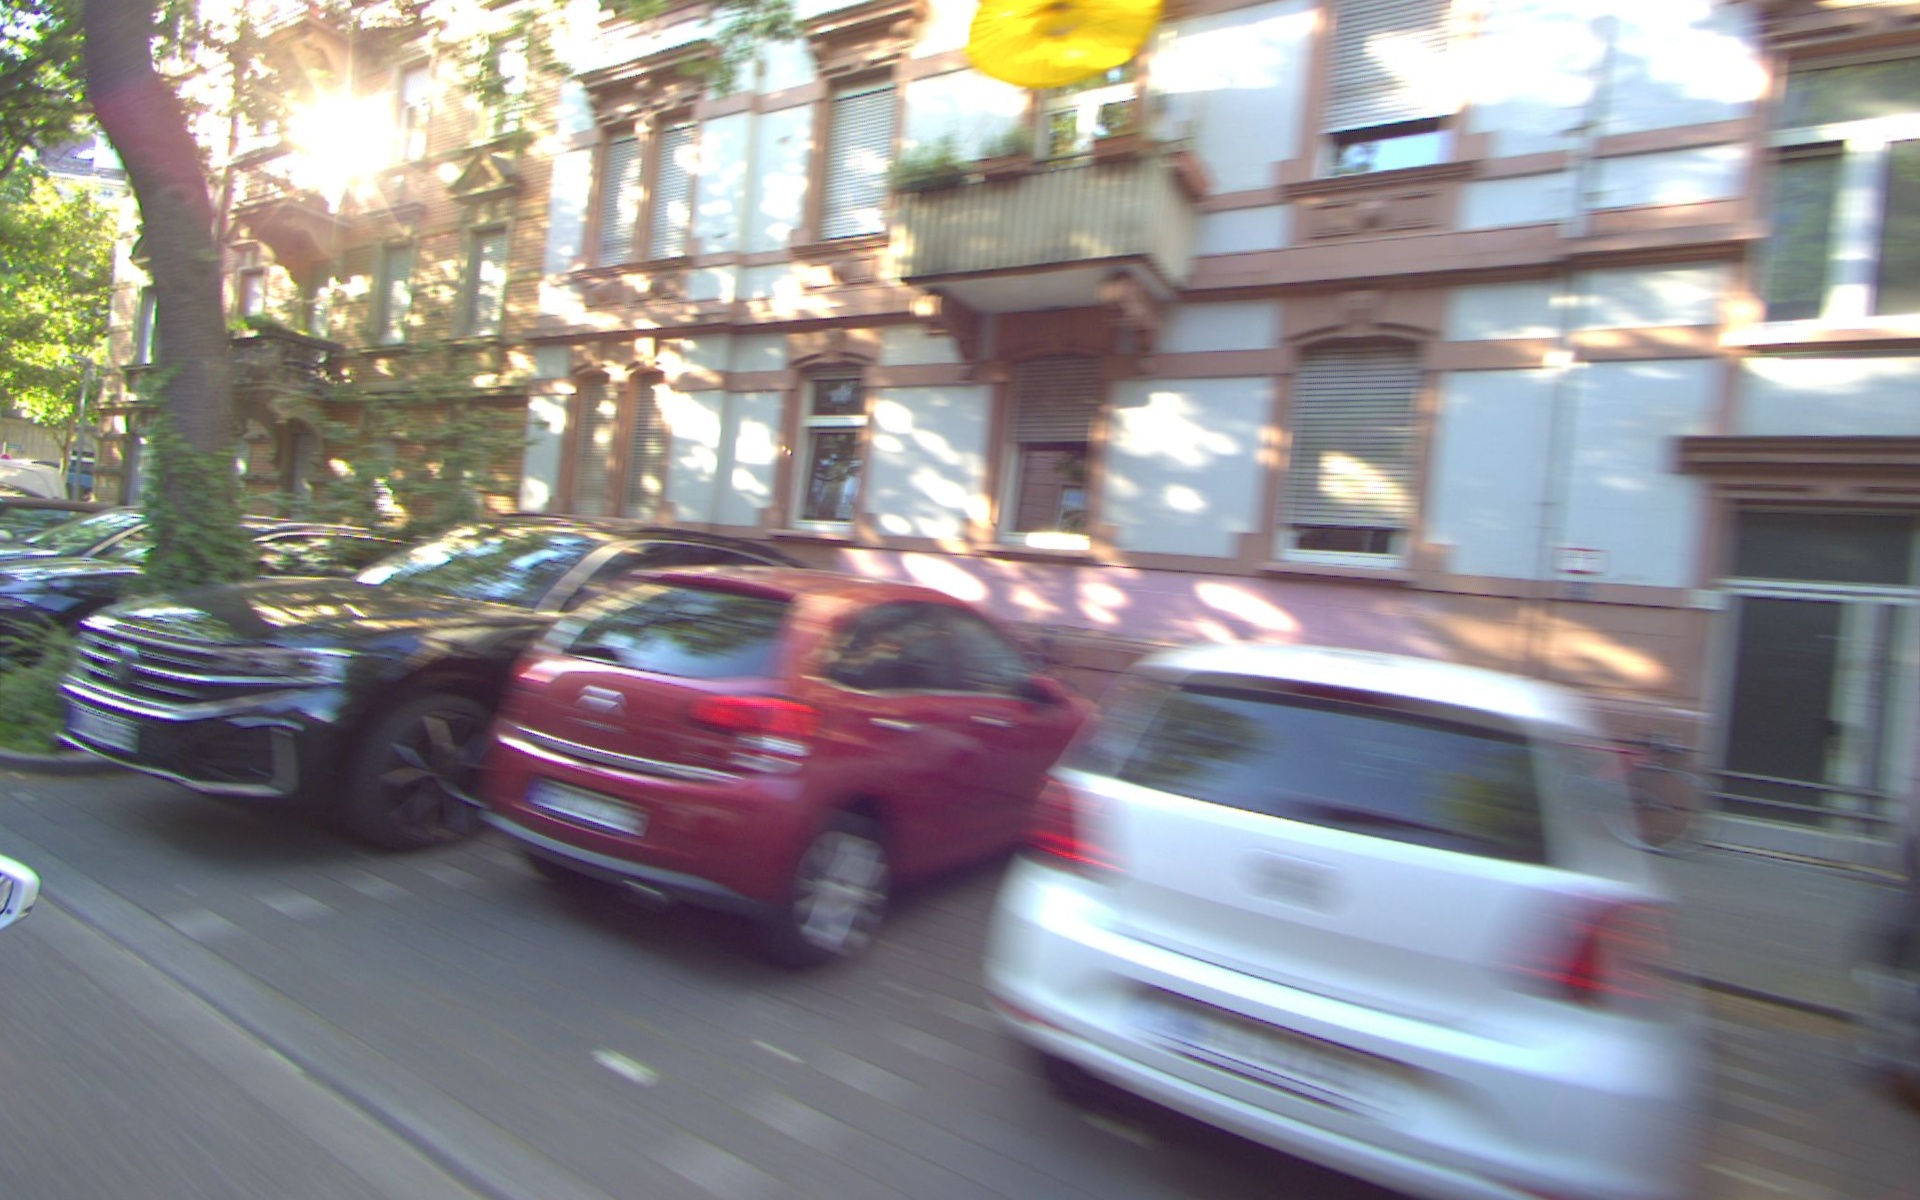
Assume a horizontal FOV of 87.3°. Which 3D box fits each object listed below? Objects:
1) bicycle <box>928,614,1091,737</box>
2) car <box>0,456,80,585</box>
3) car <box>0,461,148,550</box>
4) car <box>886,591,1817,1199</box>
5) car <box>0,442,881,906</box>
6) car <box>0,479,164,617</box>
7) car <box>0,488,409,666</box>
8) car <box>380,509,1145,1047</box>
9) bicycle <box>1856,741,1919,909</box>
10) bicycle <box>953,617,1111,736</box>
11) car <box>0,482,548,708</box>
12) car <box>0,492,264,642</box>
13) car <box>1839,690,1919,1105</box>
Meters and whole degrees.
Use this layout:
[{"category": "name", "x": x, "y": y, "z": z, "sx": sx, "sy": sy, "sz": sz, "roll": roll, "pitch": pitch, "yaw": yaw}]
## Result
[{"category": "bicycle", "x": 0.495, "y": 0.774, "z": 10.633, "sx": 1.677, "sy": 1.064, "sz": 0.365, "roll": 7, "pitch": 0, "yaw": 35}, {"category": "car", "x": -17.036, "y": -1.459, "z": 15.250, "sx": 2.124, "sy": 1.962, "sz": 5.099, "roll": 2, "pitch": -3, "yaw": 31}, {"category": "car", "x": -33.518, "y": -3.505, "z": 36.360, "sx": 2.337, "sy": 2.567, "sz": 5.911, "roll": 7, "pitch": -1, "yaw": 25}, {"category": "car", "x": 1.577, "y": 0.929, "z": 3.958, "sx": 1.751, "sy": 1.480, "sz": 3.995, "roll": 7, "pitch": 0, "yaw": 28}, {"category": "car", "x": -2.589, "y": 0.308, "z": 6.315, "sx": 1.849, "sy": 1.724, "sz": 4.651, "roll": 7, "pitch": 1, "yaw": 28}, {"category": "car", "x": -13.078, "y": -0.802, "z": 13.027, "sx": 1.694, "sy": 1.669, "sz": 3.893, "roll": 7, "pitch": -1, "yaw": 26}, {"category": "car", "x": -8.503, "y": -0.206, "z": 10.402, "sx": 1.897, "sy": 1.521, "sz": 4.673, "roll": 7, "pitch": -1, "yaw": 22}, {"category": "car", "x": -0.542, "y": 0.656, "z": 5.357, "sx": 1.751, "sy": 1.609, "sz": 3.995, "roll": 7, "pitch": 0, "yaw": 28}, {"category": "bicycle", "x": 7.166, "y": 1.610, "z": 6.507, "sx": 1.914, "sy": 1.059, "sz": 0.405, "roll": 7, "pitch": 1, "yaw": 26}, {"category": "bicycle", "x": 0.752, "y": 0.808, "z": 10.932, "sx": 1.677, "sy": 1.064, "sz": 0.324, "roll": 7, "pitch": 0, "yaw": 35}, {"category": "car", "x": -6.379, "y": 0.023, "z": 9.048, "sx": 1.967, "sy": 1.548, "sz": 4.557, "roll": 7, "pitch": -1, "yaw": 33}, {"category": "car", "x": -10.767, "y": -0.442, "z": 11.571, "sx": 1.779, "sy": 1.521, "sz": 4.115, "roll": 7, "pitch": -1, "yaw": 27}, {"category": "car", "x": 3.694, "y": 1.125, "z": 2.328, "sx": 1.649, "sy": 1.406, "sz": 3.988, "roll": 7, "pitch": 2, "yaw": 31}]
